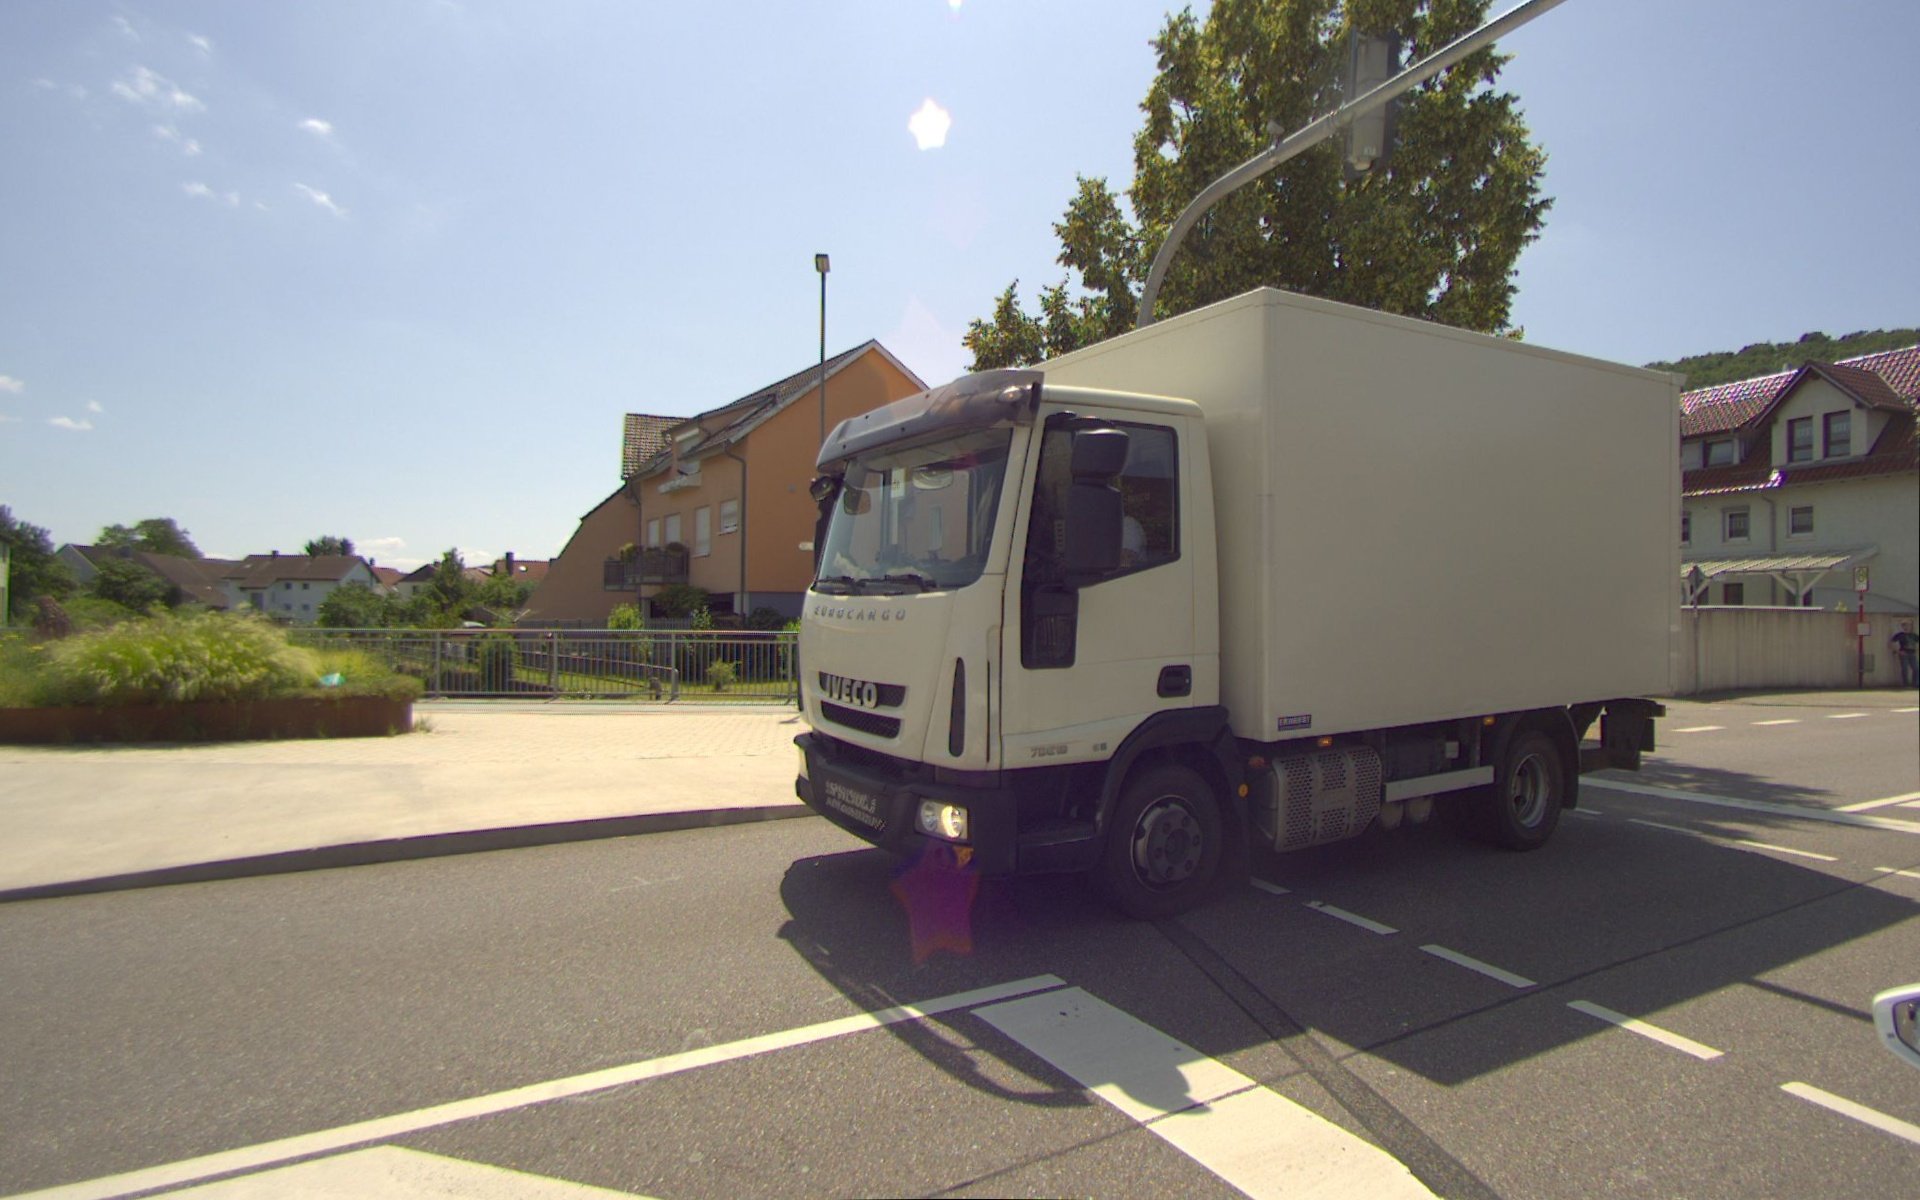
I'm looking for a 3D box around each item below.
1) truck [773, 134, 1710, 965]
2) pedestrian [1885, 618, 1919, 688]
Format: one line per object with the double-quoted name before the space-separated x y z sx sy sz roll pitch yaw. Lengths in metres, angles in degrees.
"truck" 2.064 -0.089 6.579 5.971 3.277 2.490 2 -3 -31
"pedestrian" 24.427 1.369 26.007 0.547 1.788 0.434 0 -1 -9
